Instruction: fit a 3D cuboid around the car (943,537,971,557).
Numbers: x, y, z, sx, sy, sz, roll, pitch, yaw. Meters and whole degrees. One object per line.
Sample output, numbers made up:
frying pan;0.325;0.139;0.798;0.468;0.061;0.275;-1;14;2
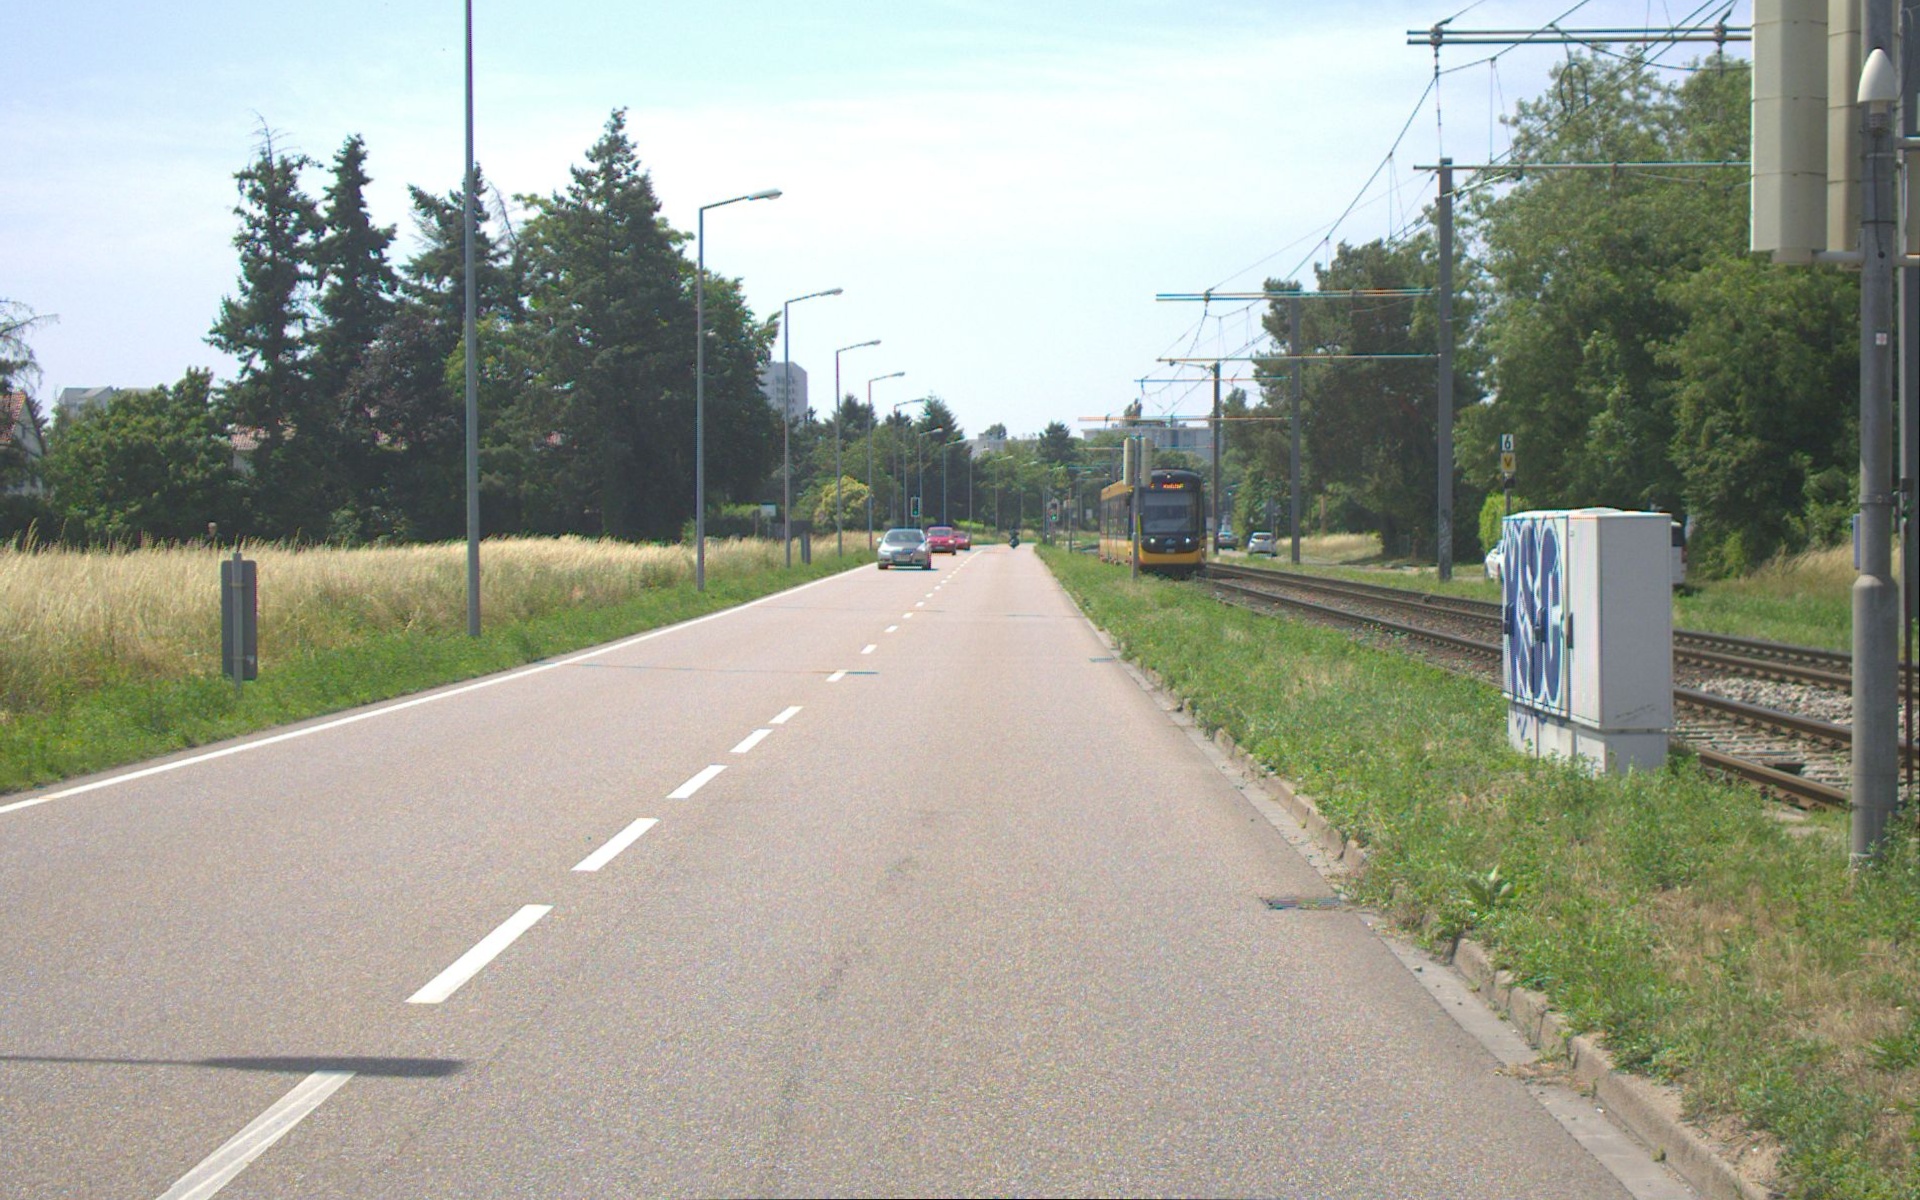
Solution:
car;-0.180;-3.483;226.107;1.807;1.281;4.286;0;0;1

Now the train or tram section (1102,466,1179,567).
train or tram section;6.948;-3.195;133.022;2.701;3.753;6.729;0;0;1

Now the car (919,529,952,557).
car;-1.277;-2.951;178.009;1.645;1.395;3.844;0;0;1

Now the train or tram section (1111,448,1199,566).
train or tram section;6.581;-3.072;117.152;2.429;3.753;11.559;0;0;1

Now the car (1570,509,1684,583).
car;16.844;-1.334;87.011;1.993;1.796;4.794;0;0;1

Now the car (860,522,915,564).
car;-2.631;-2.084;125.945;1.834;1.462;4.678;0;0;1

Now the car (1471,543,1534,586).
car;16.748;-1.089;106.213;1.428;1.303;3.465;0;0;1

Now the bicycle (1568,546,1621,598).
bicycle;17.978;-0.783;97.466;0.928;1.425;3.385;0;0;1
